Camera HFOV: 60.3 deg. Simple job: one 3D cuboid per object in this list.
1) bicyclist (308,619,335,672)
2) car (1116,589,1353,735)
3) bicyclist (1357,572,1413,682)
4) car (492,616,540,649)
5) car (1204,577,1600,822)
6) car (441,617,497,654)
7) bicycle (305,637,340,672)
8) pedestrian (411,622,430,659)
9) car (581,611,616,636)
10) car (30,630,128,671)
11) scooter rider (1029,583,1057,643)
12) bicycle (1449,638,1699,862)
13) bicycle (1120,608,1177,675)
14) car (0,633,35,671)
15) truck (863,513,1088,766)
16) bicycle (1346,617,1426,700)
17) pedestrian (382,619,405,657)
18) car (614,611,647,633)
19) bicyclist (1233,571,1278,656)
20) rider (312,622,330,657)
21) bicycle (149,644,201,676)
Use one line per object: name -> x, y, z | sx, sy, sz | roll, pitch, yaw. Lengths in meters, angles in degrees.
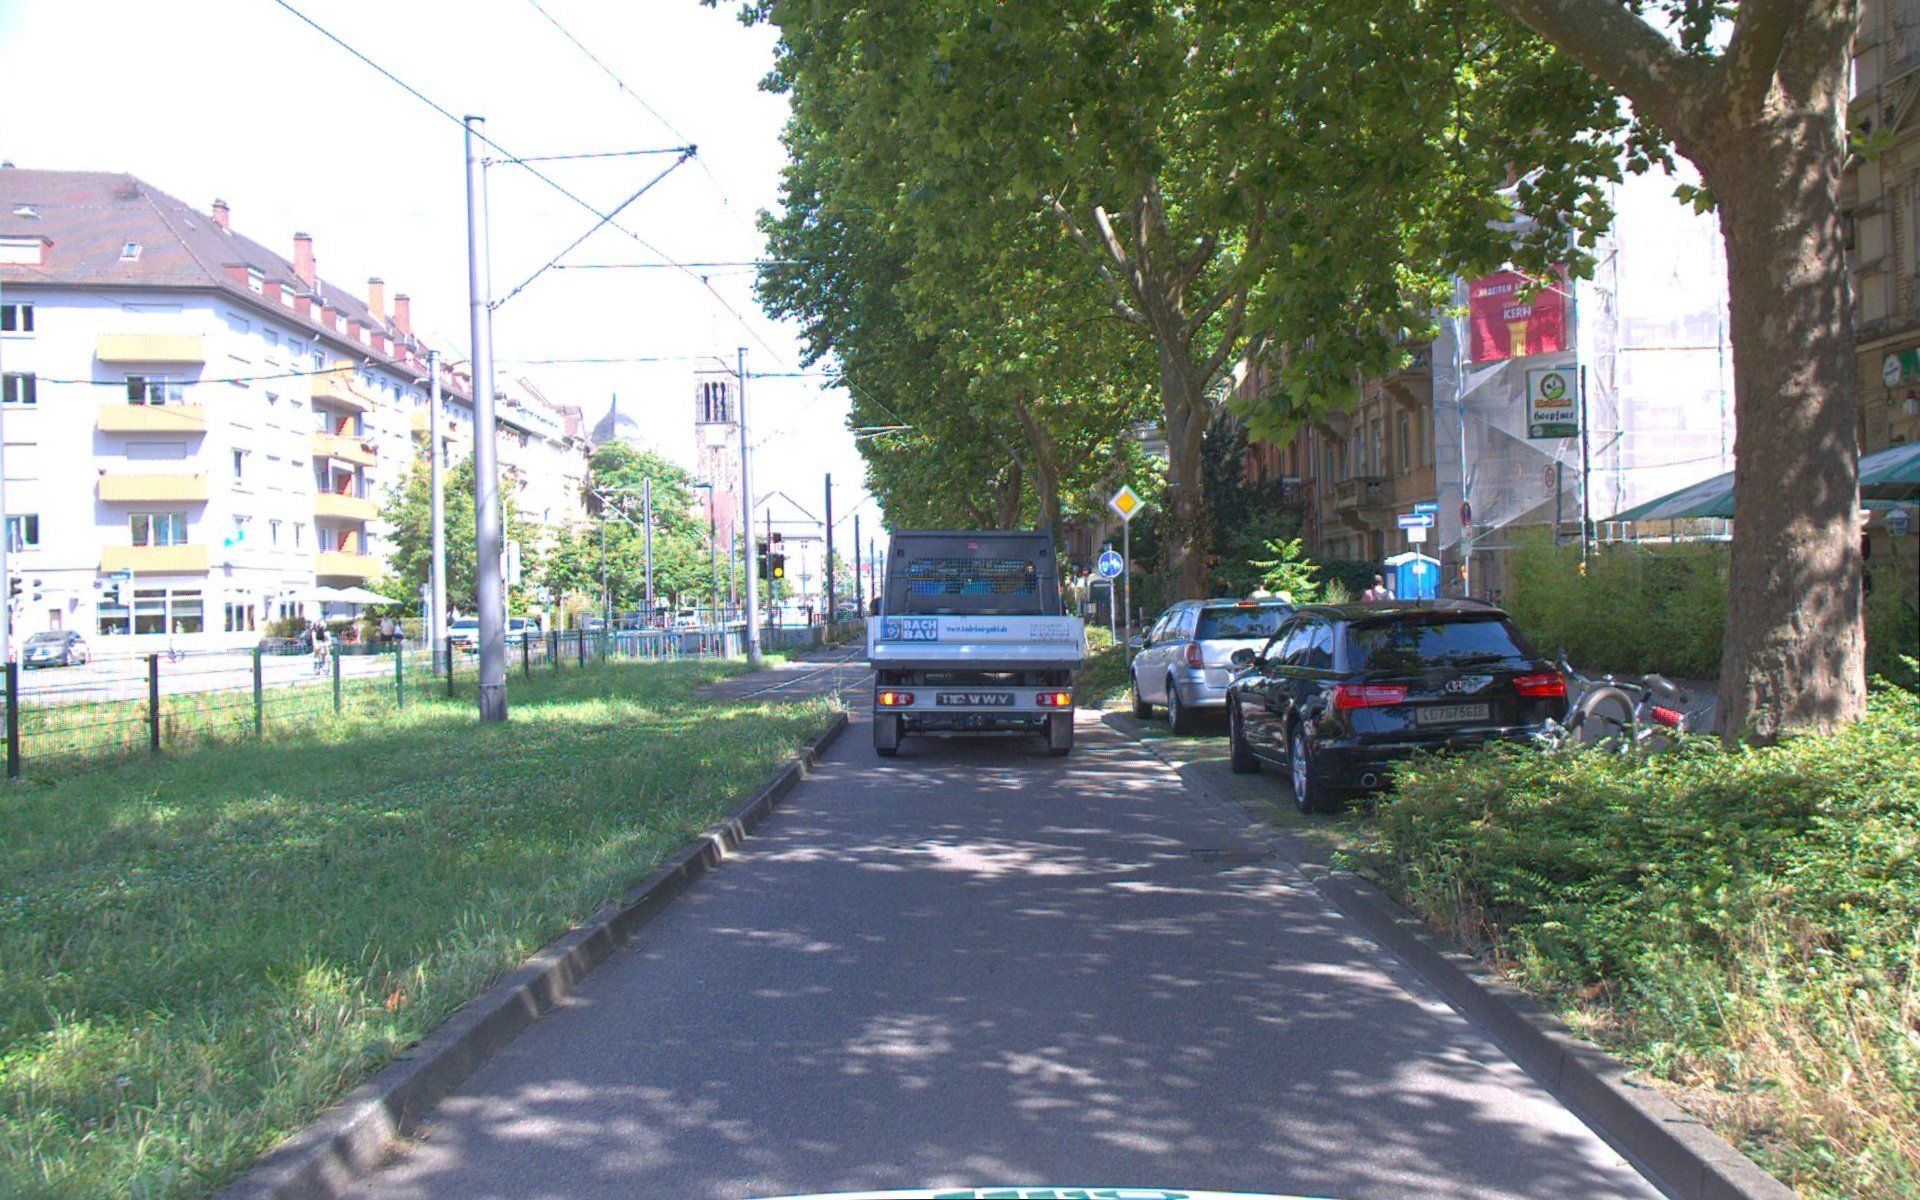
bicyclist -> -20.368, 1.436, 52.797 | 0.611, 1.651, 0.694 | -2, 0, -7
car -> 3.220, 0.686, 20.367 | 1.797, 1.534, 4.487 | -2, 0, -5
bicyclist -> 6.298, 0.396, 24.520 | 0.625, 1.601, 0.579 | -2, 0, 0
car -> -22.847, 1.654, 85.246 | 1.737, 1.524, 3.994 | -3, 0, -7
car -> 3.243, 0.655, 13.166 | 1.796, 1.534, 4.642 | -2, 0, -1
car -> -22.682, 1.633, 76.561 | 1.737, 1.524, 3.994 | -3, 0, -7
bicycle -> -20.344, 1.732, 52.784 | 0.521, 1.067, 1.923 | -4, -1, -7
pedestrian -> -23.837, 1.803, 73.063 | 0.679, 1.600, 0.542 | -1, 0, -25
car -> -23.342, 1.530, 106.877 | 1.737, 1.524, 3.994 | -2, 0, -7
car -> -34.361, 1.937, 64.650 | 1.798, 1.400, 4.636 | -2, 0, -7
scooter rider -> 2.668, 0.400, 53.280 | 0.648, 1.899, 0.669 | -2, 0, 23
bicycle -> 3.487, 0.802, 9.335 | 1.619, 1.107, 0.466 | -2, 0, -35
bicycle -> 3.380, 0.731, 29.609 | 0.413, 1.125, 1.614 | -2, 0, 28
car -> -37.628, 2.041, 63.917 | 1.896, 1.431, 4.158 | -2, 0, -9
truck -> 0.128, 0.370, 17.622 | 2.095, 2.359, 4.401 | 0, 0, -1
bicycle -> 6.325, 0.844, 24.643 | 0.554, 1.131, 2.310 | -2, 0, 0
pedestrian -> -24.955, 1.665, 72.810 | 0.847, 1.600, 0.684 | -2, 0, -25
car -> -23.934, 1.577, 120.227 | 1.735, 1.524, 3.998 | -2, 0, -3
bicyclist -> 5.653, 0.257, 31.689 | 0.667, 1.591, 0.777 | -2, 0, 0
rider -> -26.762, 1.653, 69.269 | 0.613, 1.448, 0.587 | -2, 0, -18
bicycle -> -31.419, 2.397, 66.255 | 0.893, 1.157, 2.806 | -2, 0, -5
